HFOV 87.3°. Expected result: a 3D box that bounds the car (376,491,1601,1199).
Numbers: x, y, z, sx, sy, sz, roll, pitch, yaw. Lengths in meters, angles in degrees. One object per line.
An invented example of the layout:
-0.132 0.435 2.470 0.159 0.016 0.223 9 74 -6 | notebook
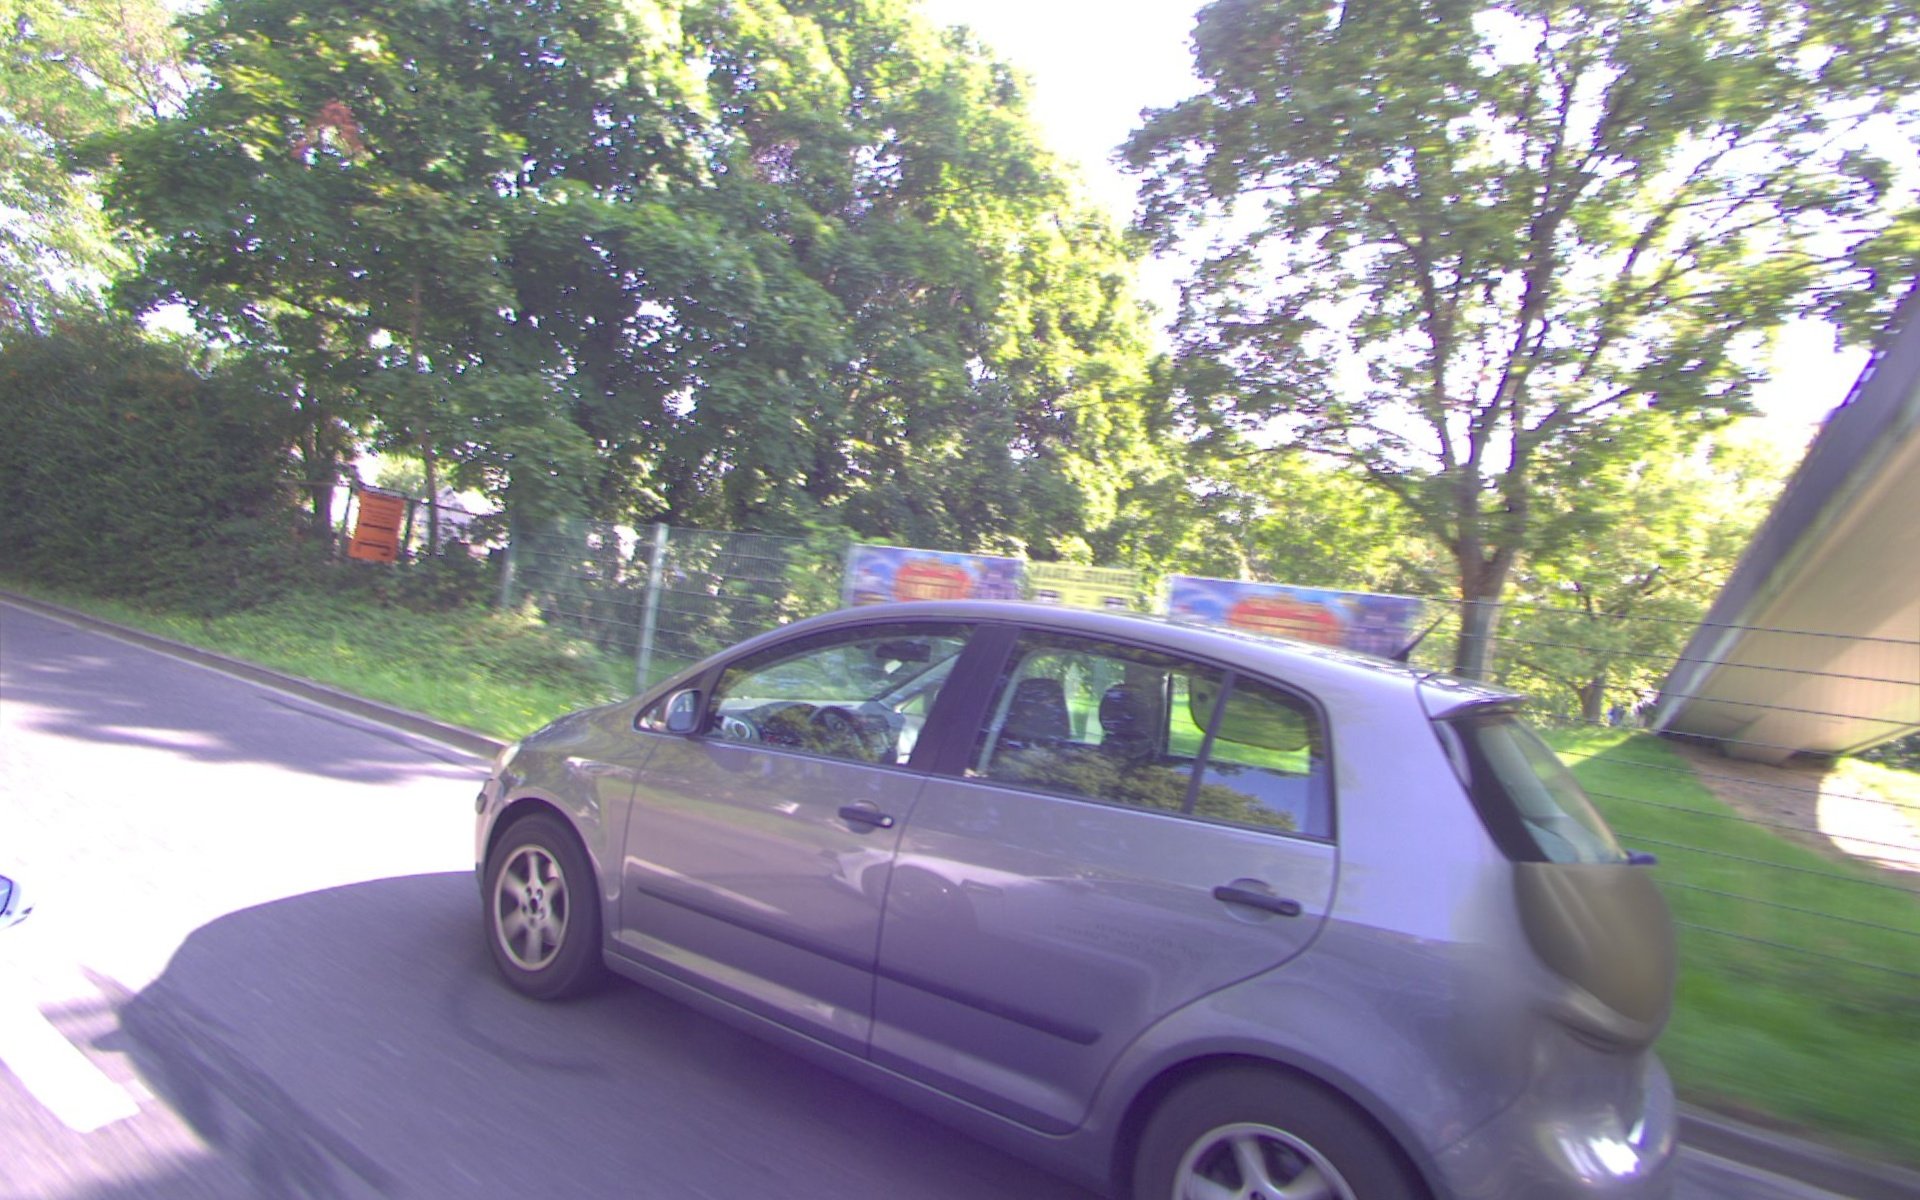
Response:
-0.114 0.666 3.570 3.835 1.574 1.649 8 -2 32 | car
